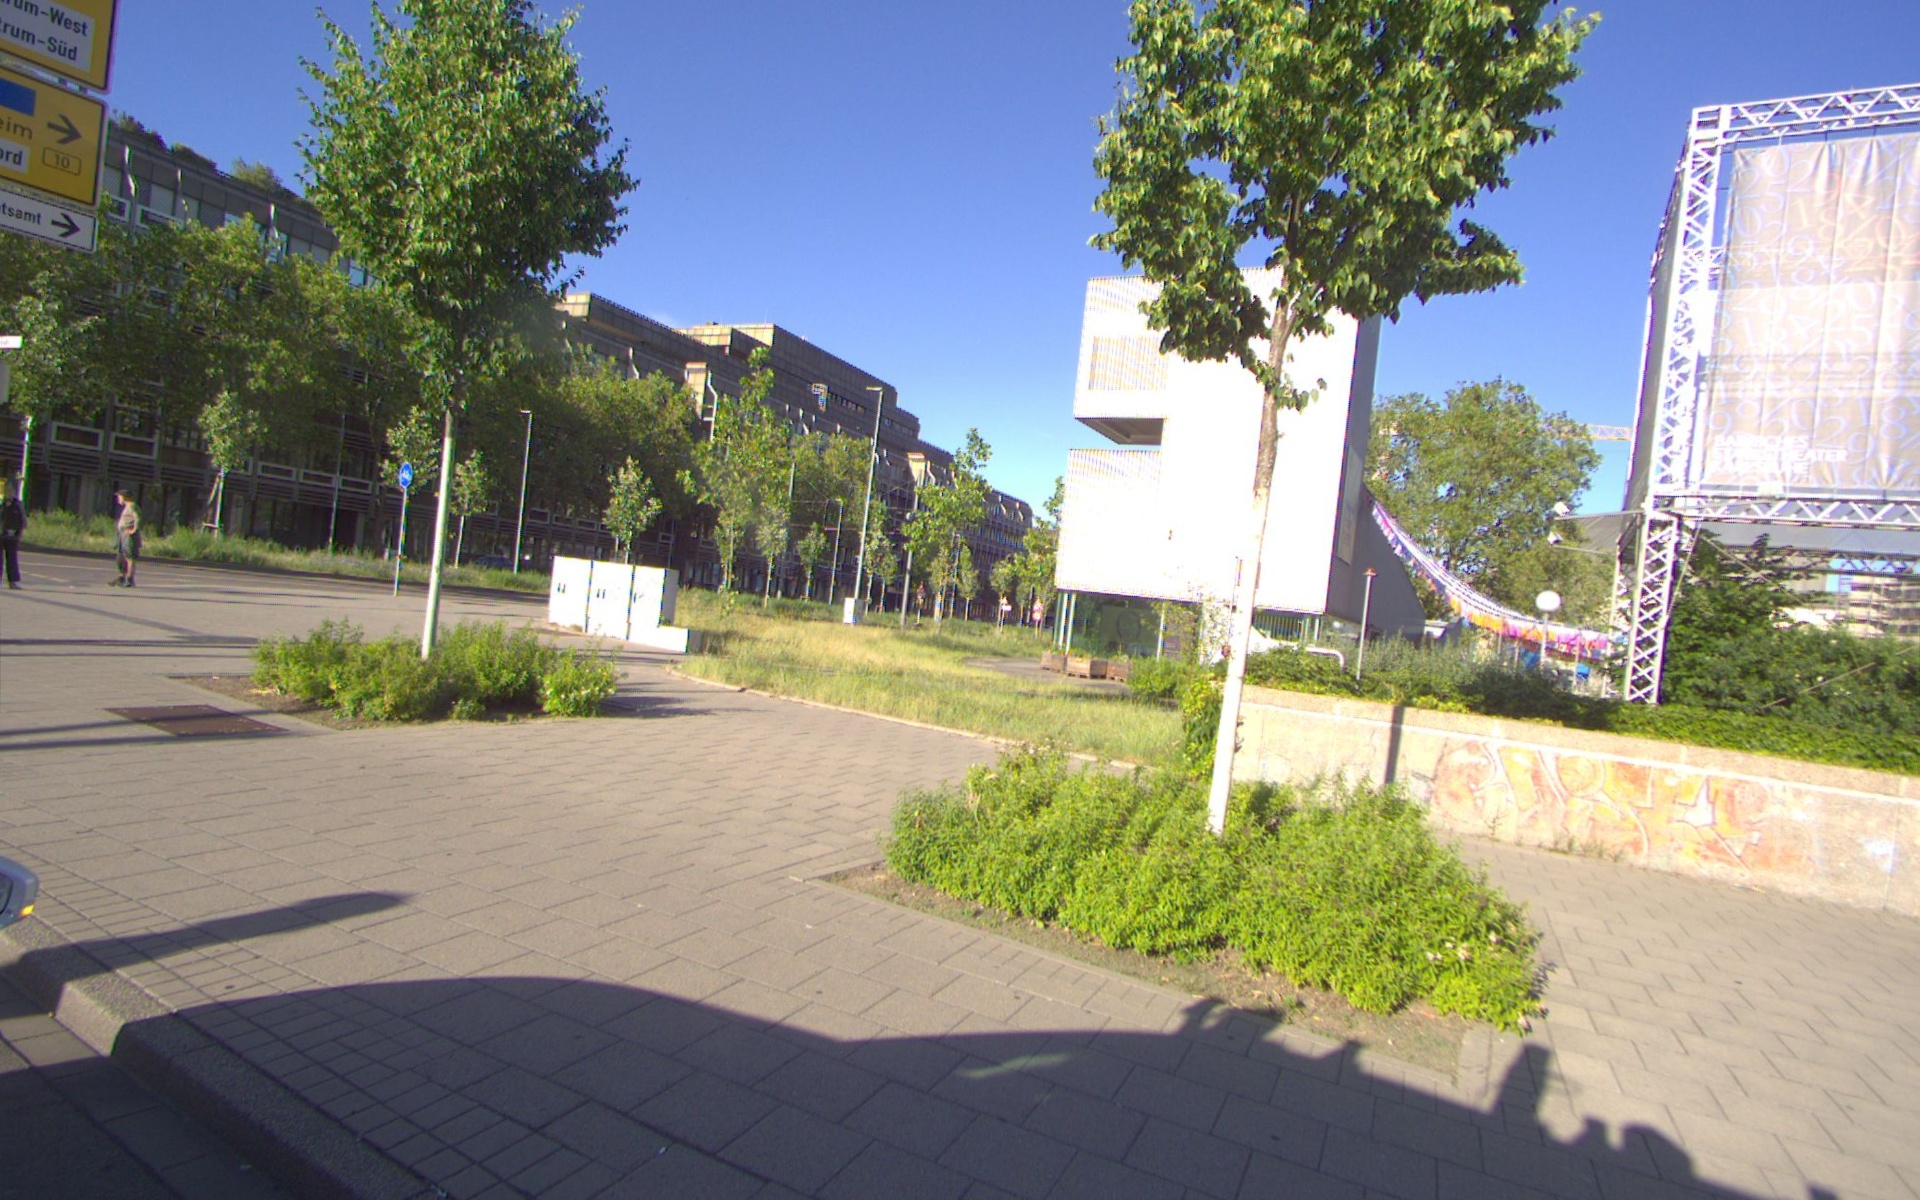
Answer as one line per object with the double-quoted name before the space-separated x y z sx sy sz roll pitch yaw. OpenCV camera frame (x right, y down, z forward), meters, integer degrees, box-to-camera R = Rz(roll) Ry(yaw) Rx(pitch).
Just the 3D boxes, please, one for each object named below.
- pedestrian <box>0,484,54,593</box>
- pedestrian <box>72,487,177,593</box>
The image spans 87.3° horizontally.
"pedestrian" -14.043 -0.921 14.785 0.633 1.510 0.789 6 -1 31
"pedestrian" -14.913 -1.055 17.988 0.946 1.684 0.882 7 -1 11
